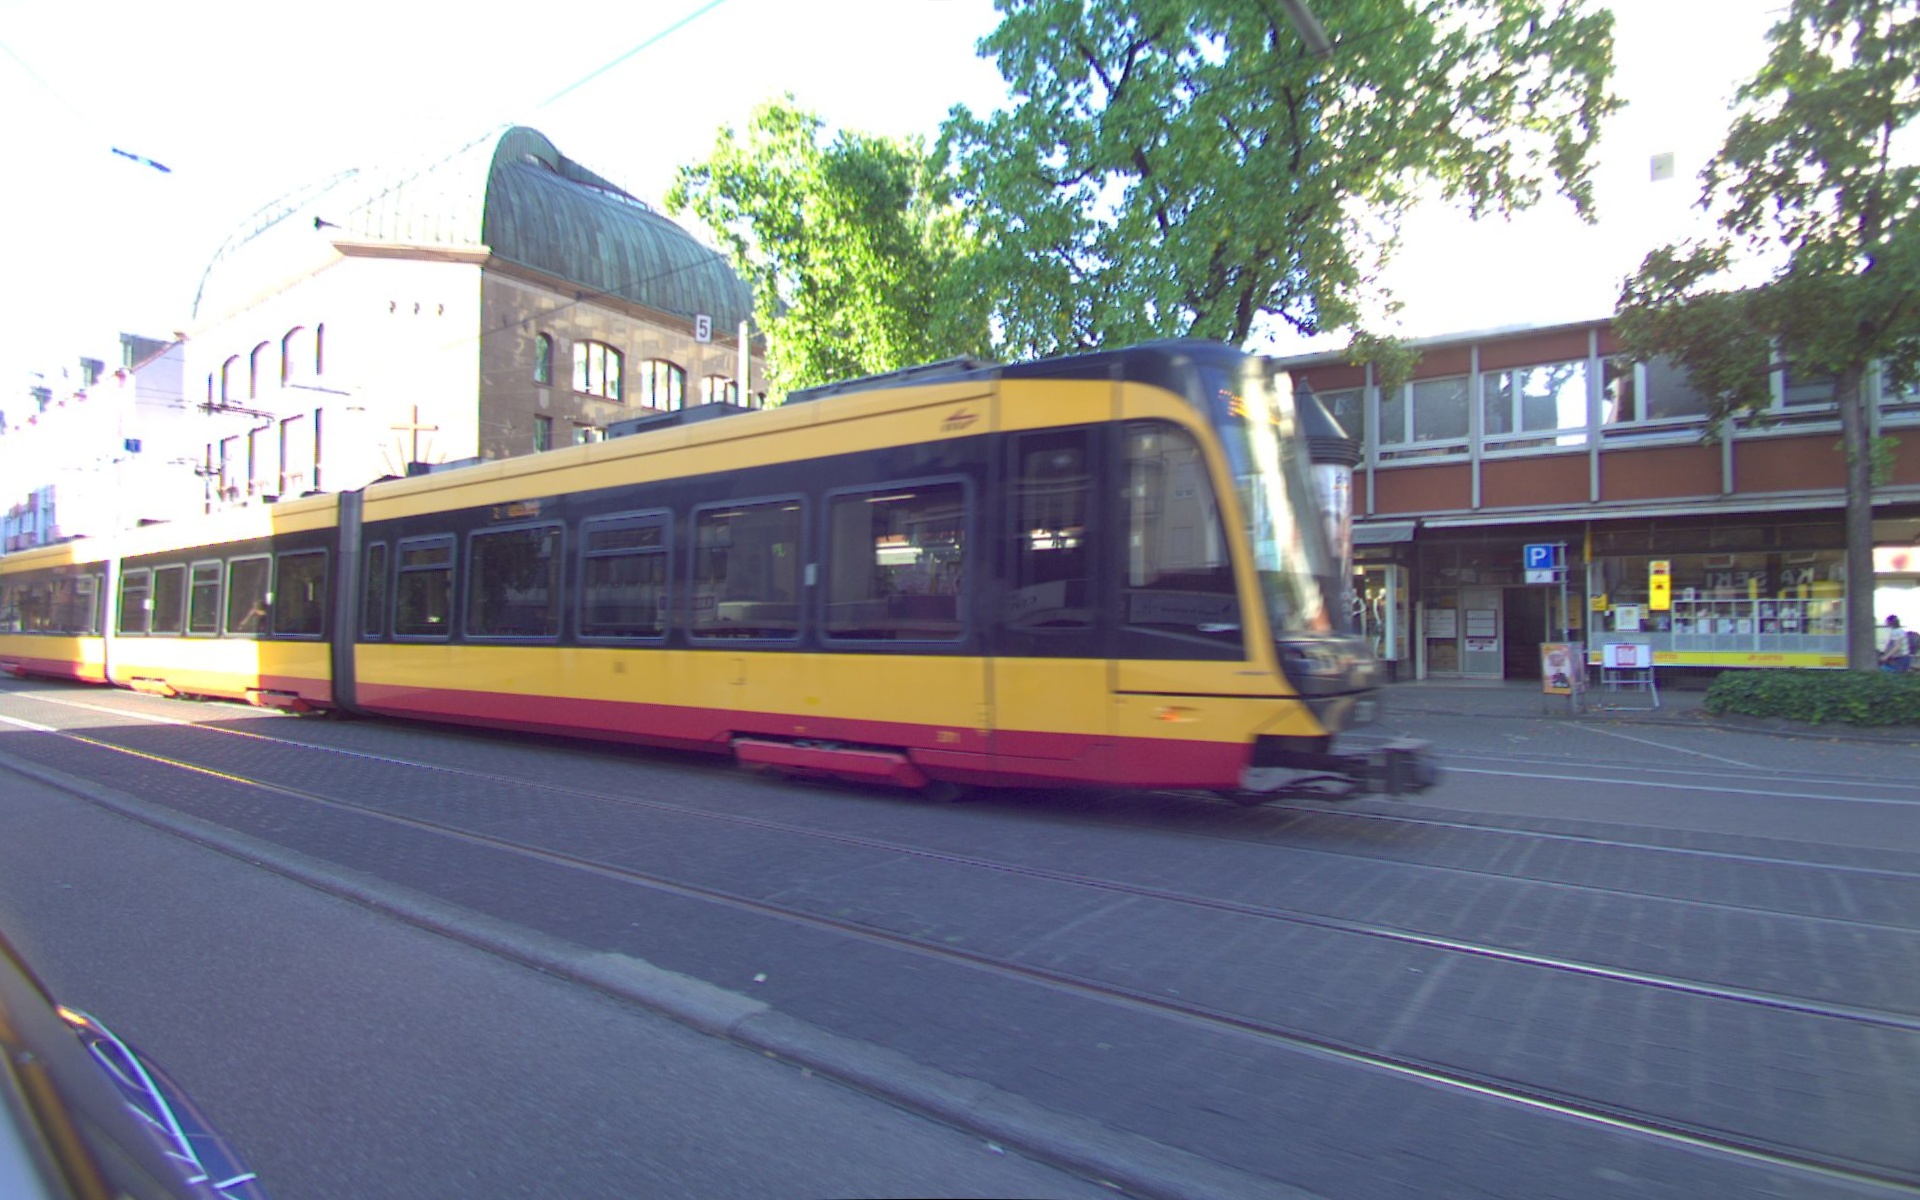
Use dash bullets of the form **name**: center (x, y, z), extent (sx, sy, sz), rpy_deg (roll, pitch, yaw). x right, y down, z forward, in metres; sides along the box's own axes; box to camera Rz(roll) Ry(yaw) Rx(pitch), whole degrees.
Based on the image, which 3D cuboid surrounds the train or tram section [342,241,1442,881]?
- **train or tram section**: center (-2.202, -0.099, 10.577), extent (12.819, 3.578, 2.651), rpy_deg (-1, -3, 37)

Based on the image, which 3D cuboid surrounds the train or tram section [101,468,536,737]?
- **train or tram section**: center (-11.800, 0.147, 17.867), extent (11.107, 3.578, 2.651), rpy_deg (-1, -3, 37)

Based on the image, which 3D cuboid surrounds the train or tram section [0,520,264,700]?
- **train or tram section**: center (-21.201, 0.336, 24.990), extent (12.445, 3.578, 2.733), rpy_deg (-1, -3, 37)

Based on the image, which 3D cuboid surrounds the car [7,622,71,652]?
- **car**: center (-55.558, 2.195, 61.024), extent (4.551, 1.713, 1.942), rpy_deg (-1, -1, 35)

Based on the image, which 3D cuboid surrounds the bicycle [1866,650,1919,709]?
- **bicycle**: center (17.153, 1.412, 17.993), extent (1.480, 1.033, 0.491), rpy_deg (-1, -2, 11)

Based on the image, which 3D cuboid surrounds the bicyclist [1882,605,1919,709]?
- **bicyclist**: center (17.099, 1.004, 18.018), extent (0.819, 1.836, 0.490), rpy_deg (-1, -2, 11)
